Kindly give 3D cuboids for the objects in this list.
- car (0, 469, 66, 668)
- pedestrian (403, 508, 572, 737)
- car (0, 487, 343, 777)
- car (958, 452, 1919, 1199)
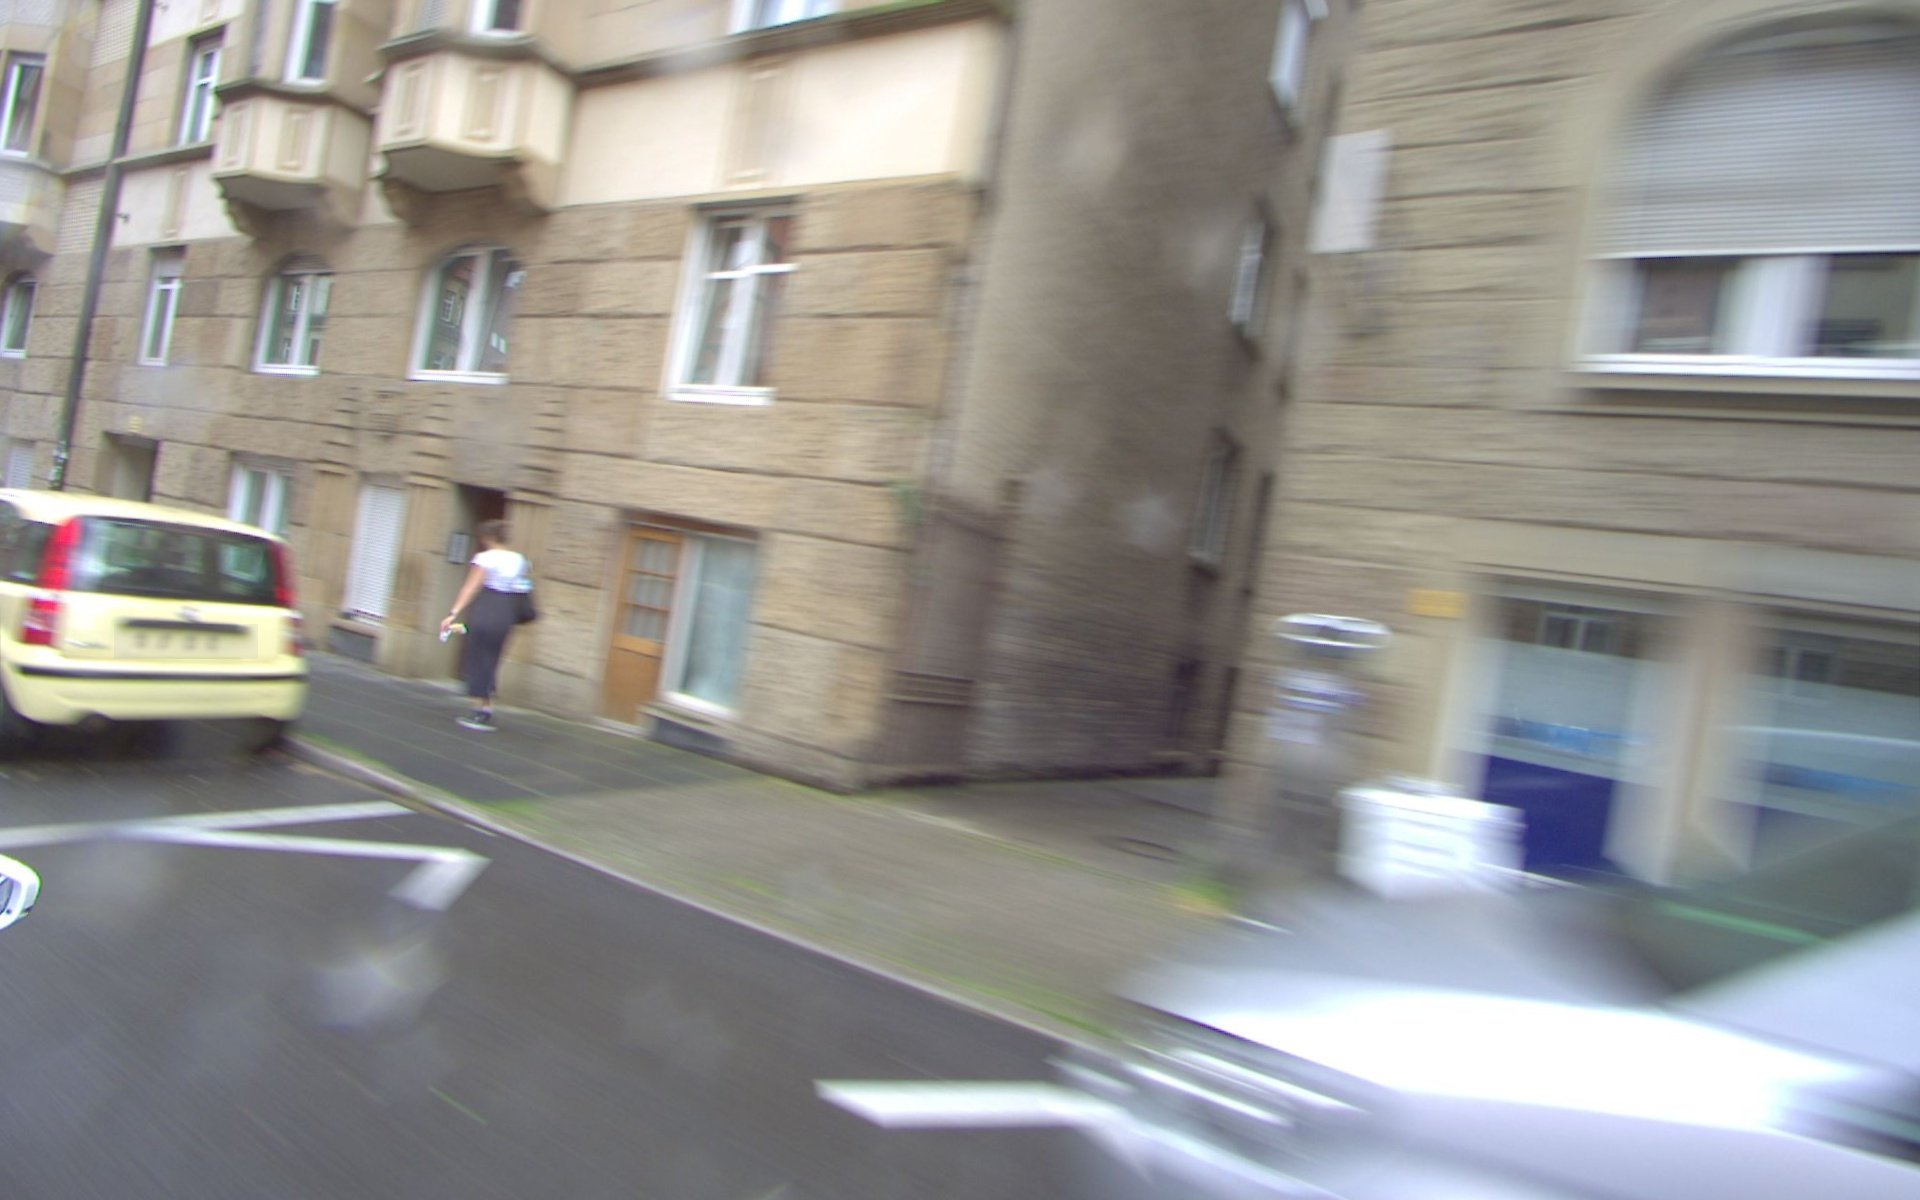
[{"bbox_3d":[-9.962,-0.548,8.991,3.933,1.647,1.715,8,-2,31],"label":"car"},{"bbox_3d":[-3.886,0.208,8.314,0.599,1.753,0.864,8,-1,31],"label":"pedestrian"},{"bbox_3d":[-5.964,0.076,6.784,3.403,1.495,1.562,8,-2,32],"label":"car"},{"bbox_3d":[2.320,0.949,1.483,4.287,1.798,1.777,8,0,32],"label":"car"}]
